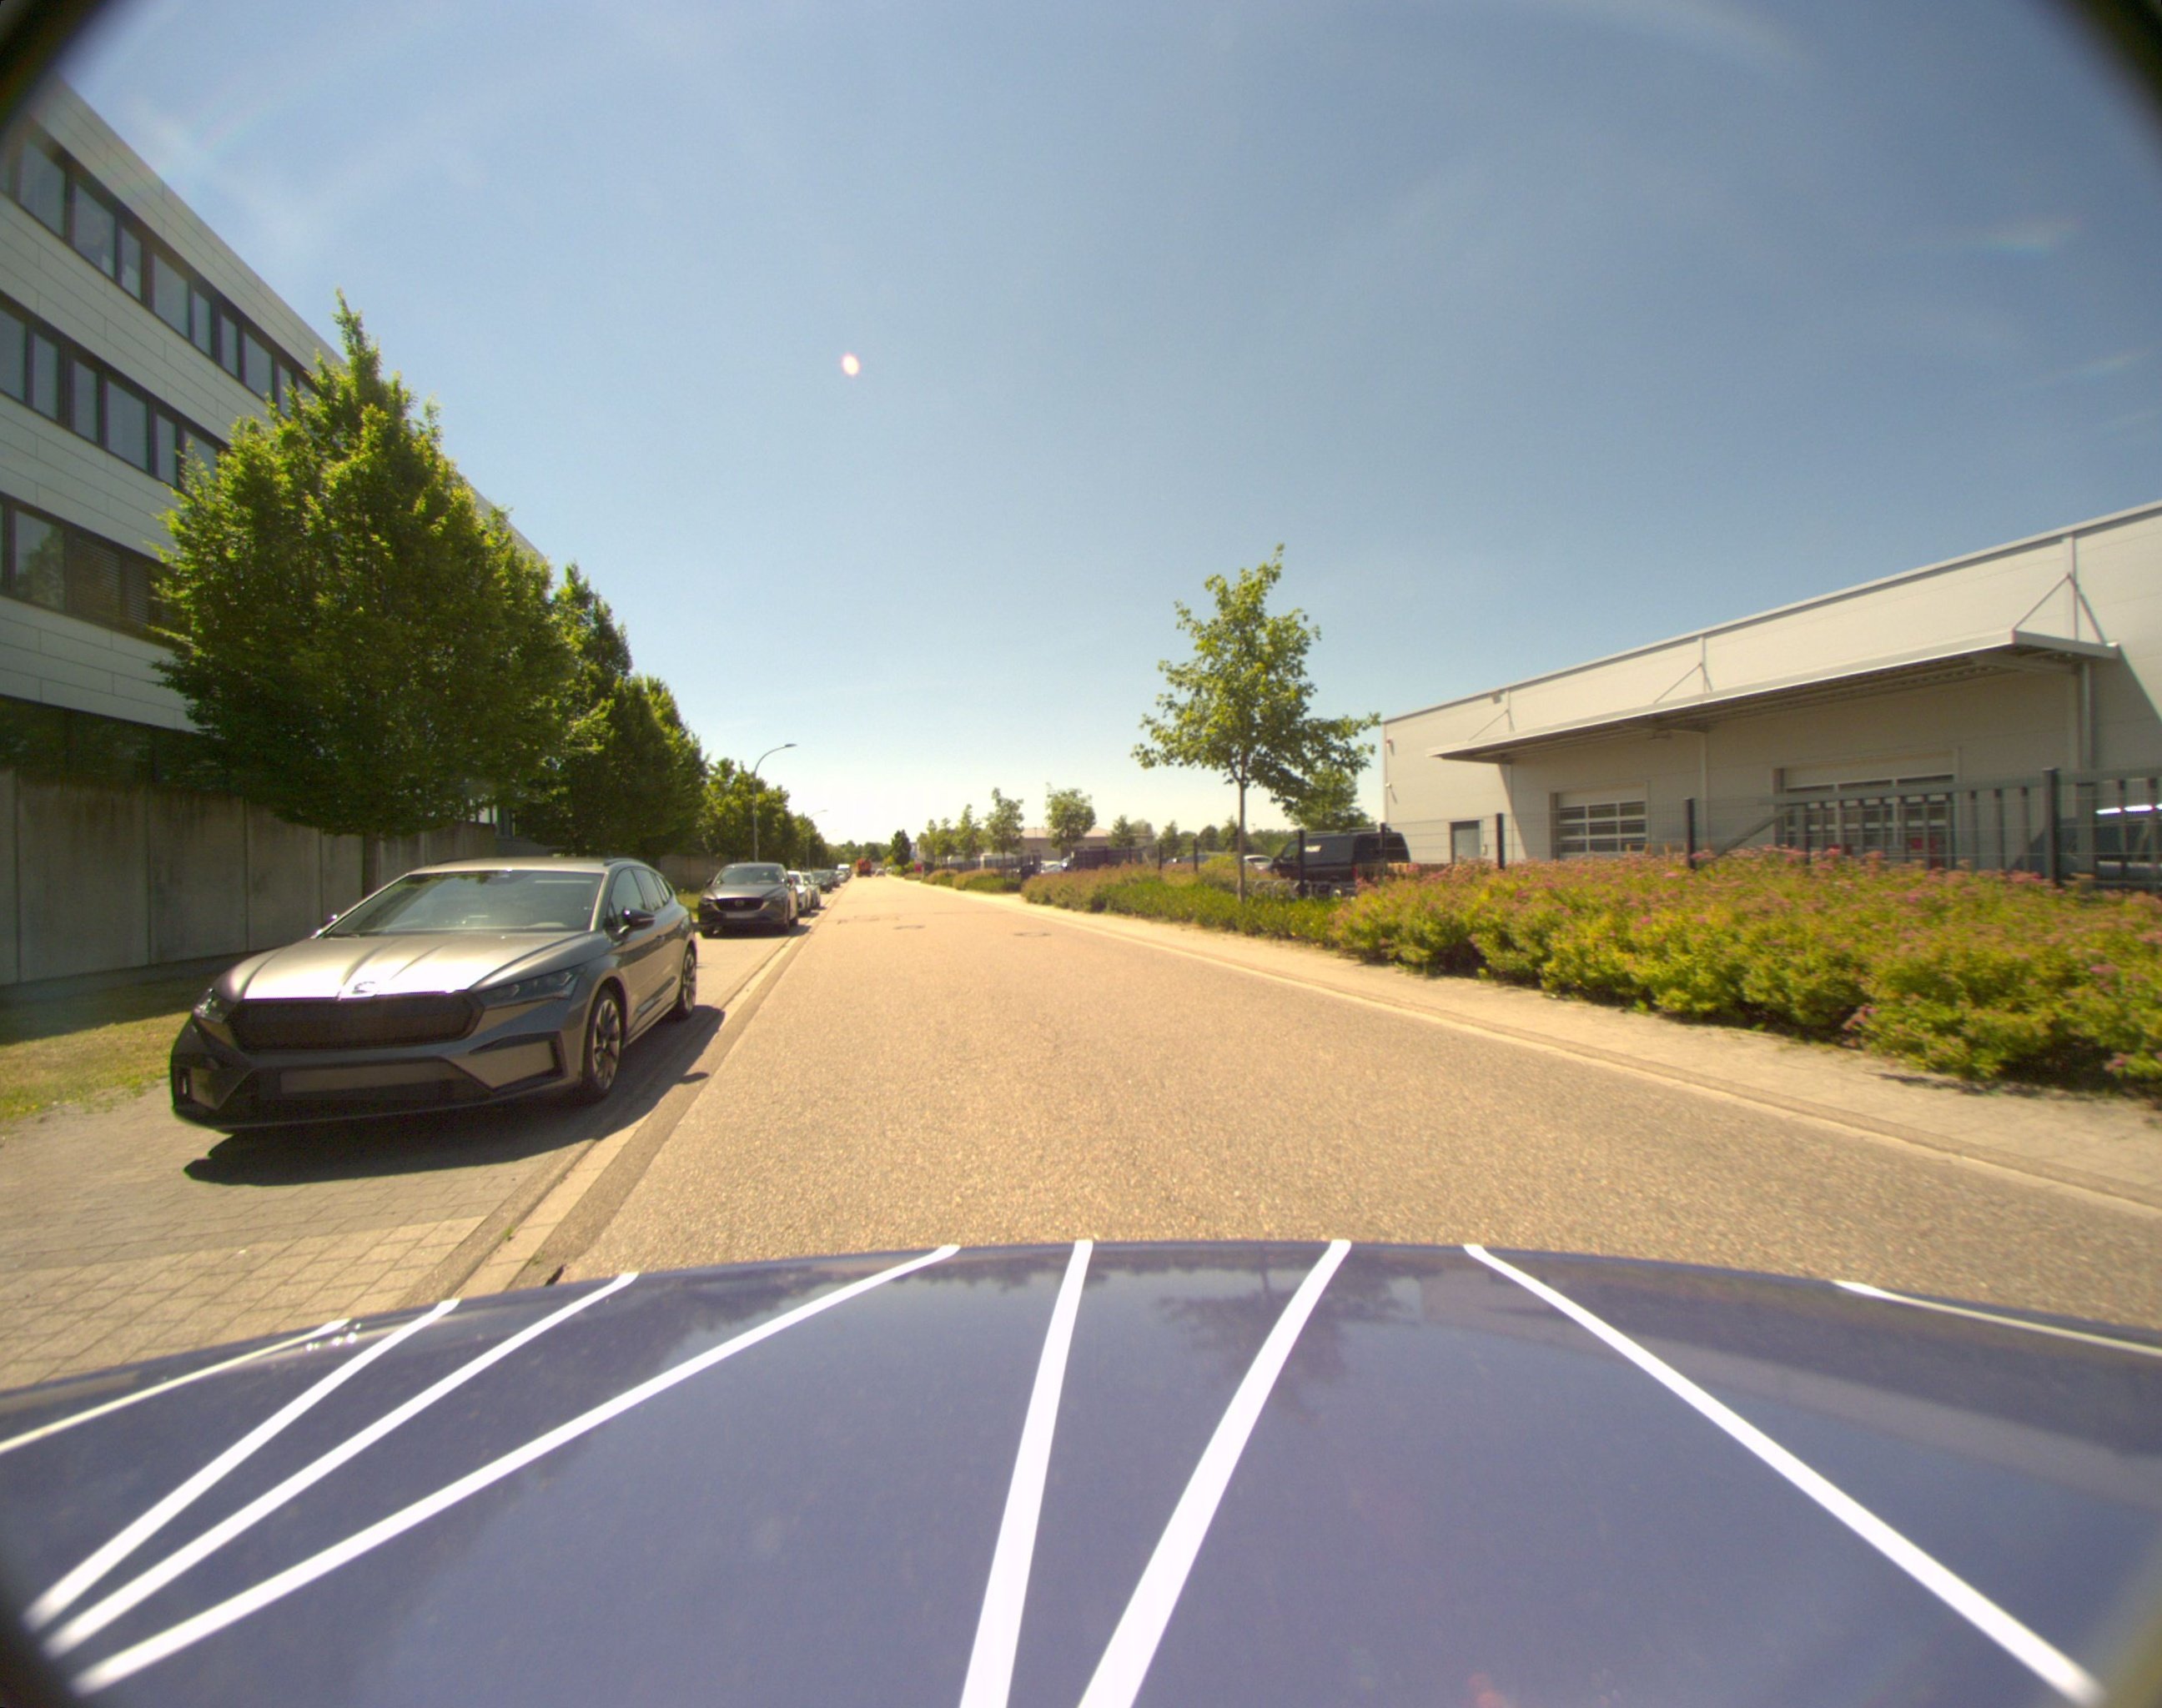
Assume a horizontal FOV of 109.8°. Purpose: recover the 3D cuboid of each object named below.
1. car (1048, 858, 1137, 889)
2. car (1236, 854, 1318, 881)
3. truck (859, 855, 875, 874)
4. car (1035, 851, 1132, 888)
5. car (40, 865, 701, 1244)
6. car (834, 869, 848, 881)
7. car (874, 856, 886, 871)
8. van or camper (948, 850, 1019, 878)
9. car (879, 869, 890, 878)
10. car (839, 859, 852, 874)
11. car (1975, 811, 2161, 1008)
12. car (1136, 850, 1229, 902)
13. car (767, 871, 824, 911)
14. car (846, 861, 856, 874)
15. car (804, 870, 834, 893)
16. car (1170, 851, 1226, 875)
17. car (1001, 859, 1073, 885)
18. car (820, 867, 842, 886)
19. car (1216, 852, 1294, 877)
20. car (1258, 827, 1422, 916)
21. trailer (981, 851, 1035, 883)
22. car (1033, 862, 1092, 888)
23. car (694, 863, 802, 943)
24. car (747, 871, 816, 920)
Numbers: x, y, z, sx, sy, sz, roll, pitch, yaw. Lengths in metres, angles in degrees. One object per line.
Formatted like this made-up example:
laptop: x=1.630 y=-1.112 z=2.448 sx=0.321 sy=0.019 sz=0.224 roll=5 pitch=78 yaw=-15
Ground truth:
car: x=0.597 y=1.039 z=40.706 sx=4.321 sy=1.438 sz=1.962 roll=-2 pitch=0 yaw=-17
car: x=11.104 y=0.758 z=43.122 sx=4.123 sy=1.342 sz=1.878 roll=-2 pitch=0 yaw=-17
truck: x=-41.585 y=1.993 z=147.402 sx=2.610 sy=3.523 sz=10.485 roll=0 pitch=-1 yaw=-18
car: x=0.136 y=0.848 z=43.155 sx=5.079 sy=1.840 sz=1.962 roll=-2 pitch=0 yaw=-17
car: x=-4.343 y=0.931 z=5.795 sx=1.811 sy=1.652 sz=4.602 roll=1 pitch=-1 yaw=-17
car: x=-31.507 y=2.693 z=99.663 sx=1.739 sy=1.501 sz=3.661 roll=0 pitch=-1 yaw=-17
car: x=-45.220 y=2.144 z=170.798 sx=2.604 sy=3.212 sz=6.214 roll=-1 pitch=-1 yaw=-16
van or camper: x=-9.991 y=0.978 z=77.538 sx=6.802 sy=2.668 sz=2.572 roll=-1 pitch=0 yaw=-16
car: x=-38.914 y=3.771 z=150.157 sx=2.001 sy=1.674 sz=3.995 roll=-1 pitch=-1 yaw=-16
car: x=-43.300 y=2.357 z=139.714 sx=2.063 sy=2.682 sz=4.828 roll=-1 pitch=-1 yaw=-17
car: x=10.566 y=0.445 z=5.986 sx=2.001 sy=1.713 sz=4.086 roll=-2 pitch=0 yaw=-14
car: x=3.669 y=0.773 z=28.204 sx=2.001 sy=1.713 sz=4.086 roll=-2 pitch=0 yaw=-14
car: x=-11.080 y=1.397 z=29.743 sx=1.723 sy=1.415 sz=3.946 roll=1 pitch=-1 yaw=-16
car: x=-51.012 y=3.022 z=168.753 sx=2.063 sy=2.682 sz=4.828 roll=-1 pitch=-1 yaw=-17
car: x=-17.665 y=1.807 z=51.342 sx=1.698 sy=1.467 sz=4.263 roll=0 pitch=-1 yaw=-17
car: x=8.191 y=0.618 z=53.284 sx=3.485 sy=1.575 sz=1.475 roll=-2 pitch=0 yaw=-17
car: x=-3.135 y=1.237 z=53.610 sx=4.750 sy=1.619 sz=1.998 roll=-2 pitch=0 yaw=-16
car: x=-22.628 y=2.003 z=68.865 sx=1.744 sy=1.660 sz=4.362 roll=0 pitch=-1 yaw=-17
car: x=10.454 y=0.630 z=45.749 sx=4.123 sy=1.342 sz=1.878 roll=-2 pitch=0 yaw=-17
car: x=7.028 y=0.446 z=21.231 sx=2.008 sy=2.086 sz=4.688 roll=-3 pitch=0 yaw=-14
trailer: x=-5.952 y=1.011 z=61.859 sx=4.003 sy=2.346 sz=1.724 roll=-3 pitch=1 yaw=-19
car: x=-1.220 y=1.334 z=48.730 sx=3.383 sy=1.489 sz=1.902 roll=-2 pitch=0 yaw=-17
car: x=-7.792 y=1.061 z=18.149 sx=1.764 sy=1.653 sz=4.357 roll=0 pitch=-1 yaw=-16
car: x=-9.886 y=1.329 z=25.324 sx=1.723 sy=1.472 sz=4.026 roll=1 pitch=-1 yaw=-16
